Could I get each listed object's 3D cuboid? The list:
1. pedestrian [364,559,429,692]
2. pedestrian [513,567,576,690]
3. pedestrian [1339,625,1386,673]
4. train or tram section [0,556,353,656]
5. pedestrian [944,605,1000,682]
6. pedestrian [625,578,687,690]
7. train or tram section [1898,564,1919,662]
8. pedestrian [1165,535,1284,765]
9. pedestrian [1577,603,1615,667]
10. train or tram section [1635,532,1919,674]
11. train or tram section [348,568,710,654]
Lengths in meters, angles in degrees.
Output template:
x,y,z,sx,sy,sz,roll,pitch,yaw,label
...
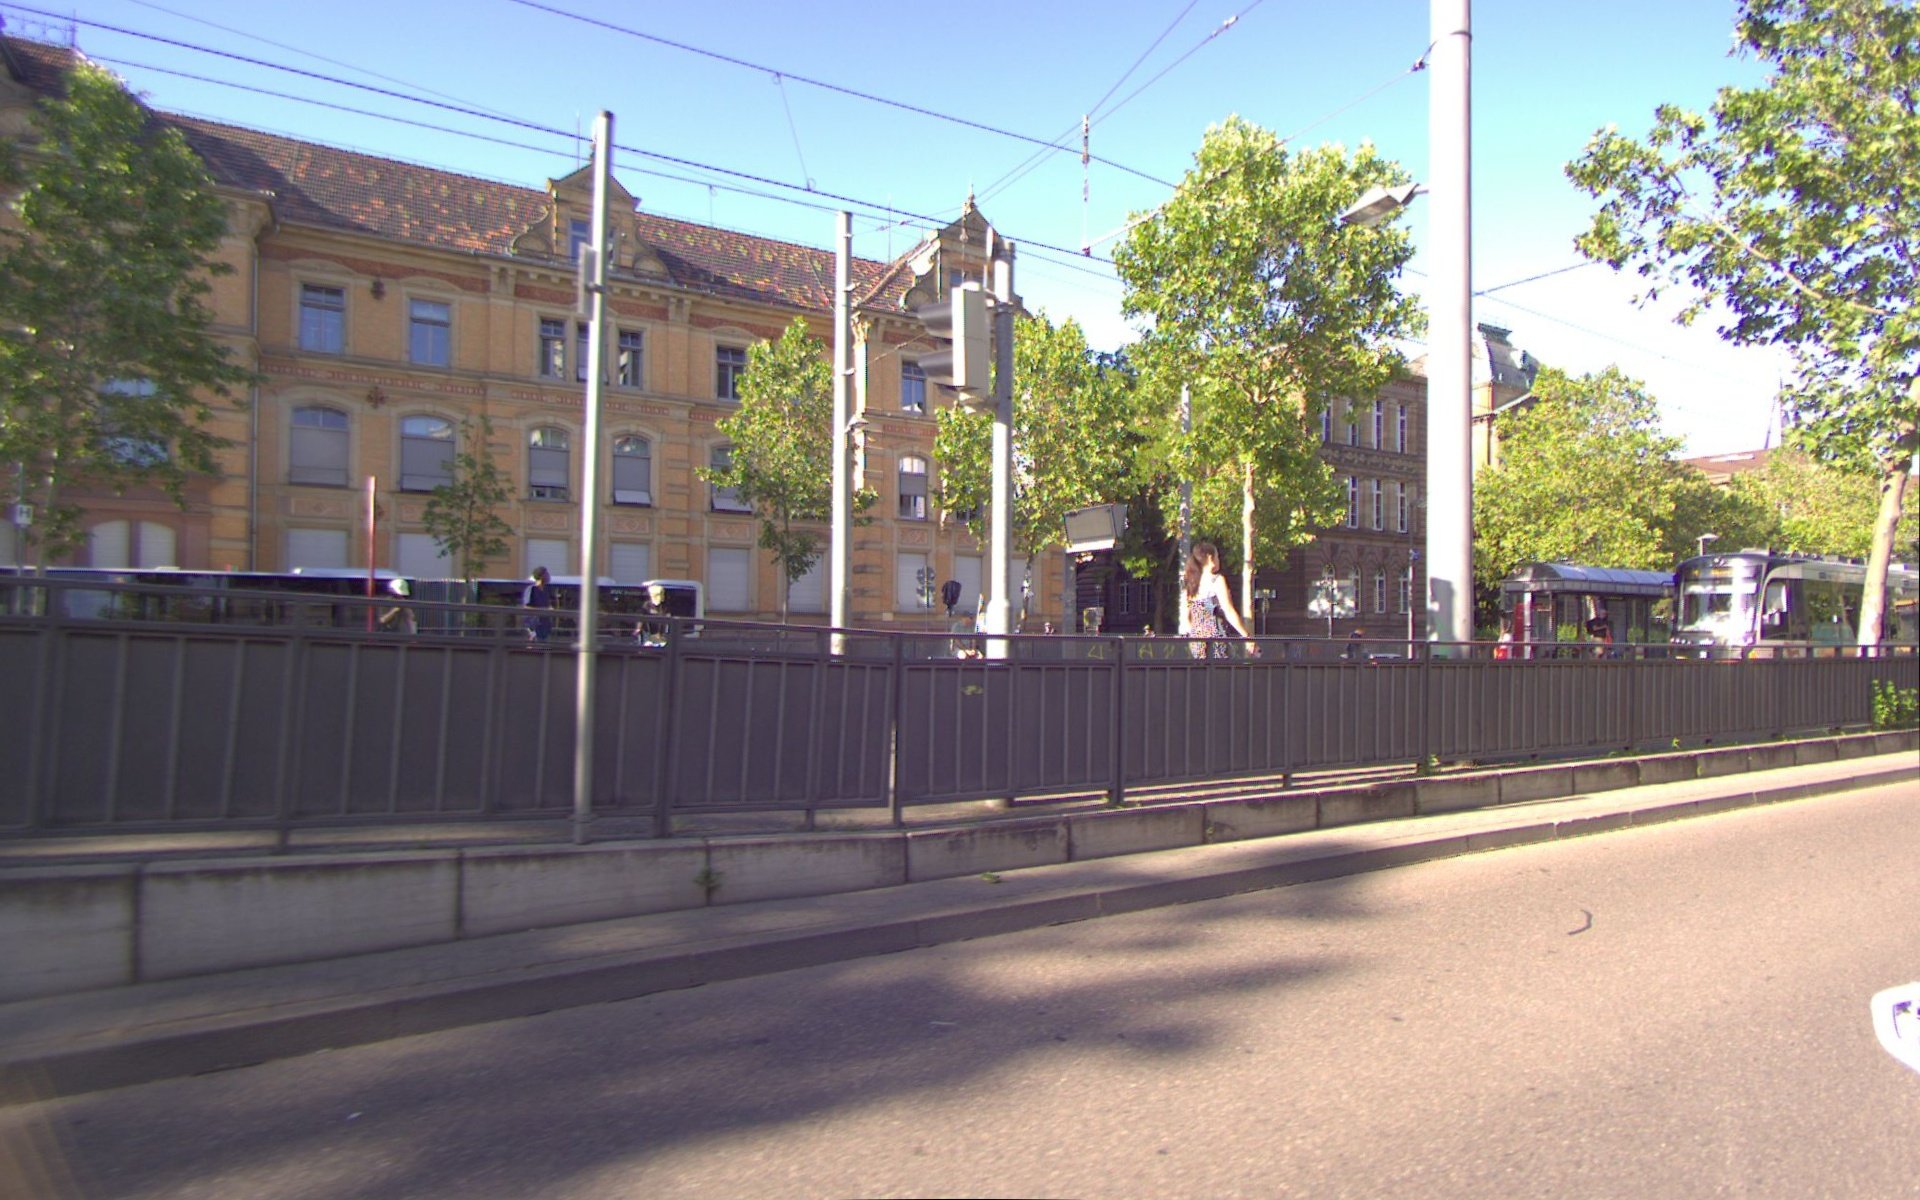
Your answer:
x,y,z,sx,sy,sz,roll,pitch,yaw,label
-7.973,0.375,14.212,0.615,1.825,0.622,-3,-4,44,pedestrian
-6.333,0.444,15.342,0.612,1.825,0.626,-1,-3,19,pedestrian
10.172,1.232,25.395,0.876,1.182,0.723,1,-1,-30,pedestrian
-20.735,0.230,26.474,7.982,2.359,2.632,1,-1,-30,train or tram section
0.233,0.865,19.877,0.870,1.480,0.721,1,-3,-34,pedestrian
-4.988,0.559,16.490,0.804,1.779,0.670,1,-1,-33,pedestrian
42.276,0.633,39.461,17.999,3.480,2.835,1,0,-30,train or tram section
2.104,0.383,8.019,0.617,1.732,0.678,1,-1,-30,pedestrian
18.997,1.045,30.009,0.641,1.879,0.706,1,-2,-31,pedestrian
26.709,0.247,30.362,18.060,3.480,2.857,1,0,-30,train or tram section
-12.980,0.424,30.975,9.938,2.359,2.632,1,-1,-30,train or tram section
